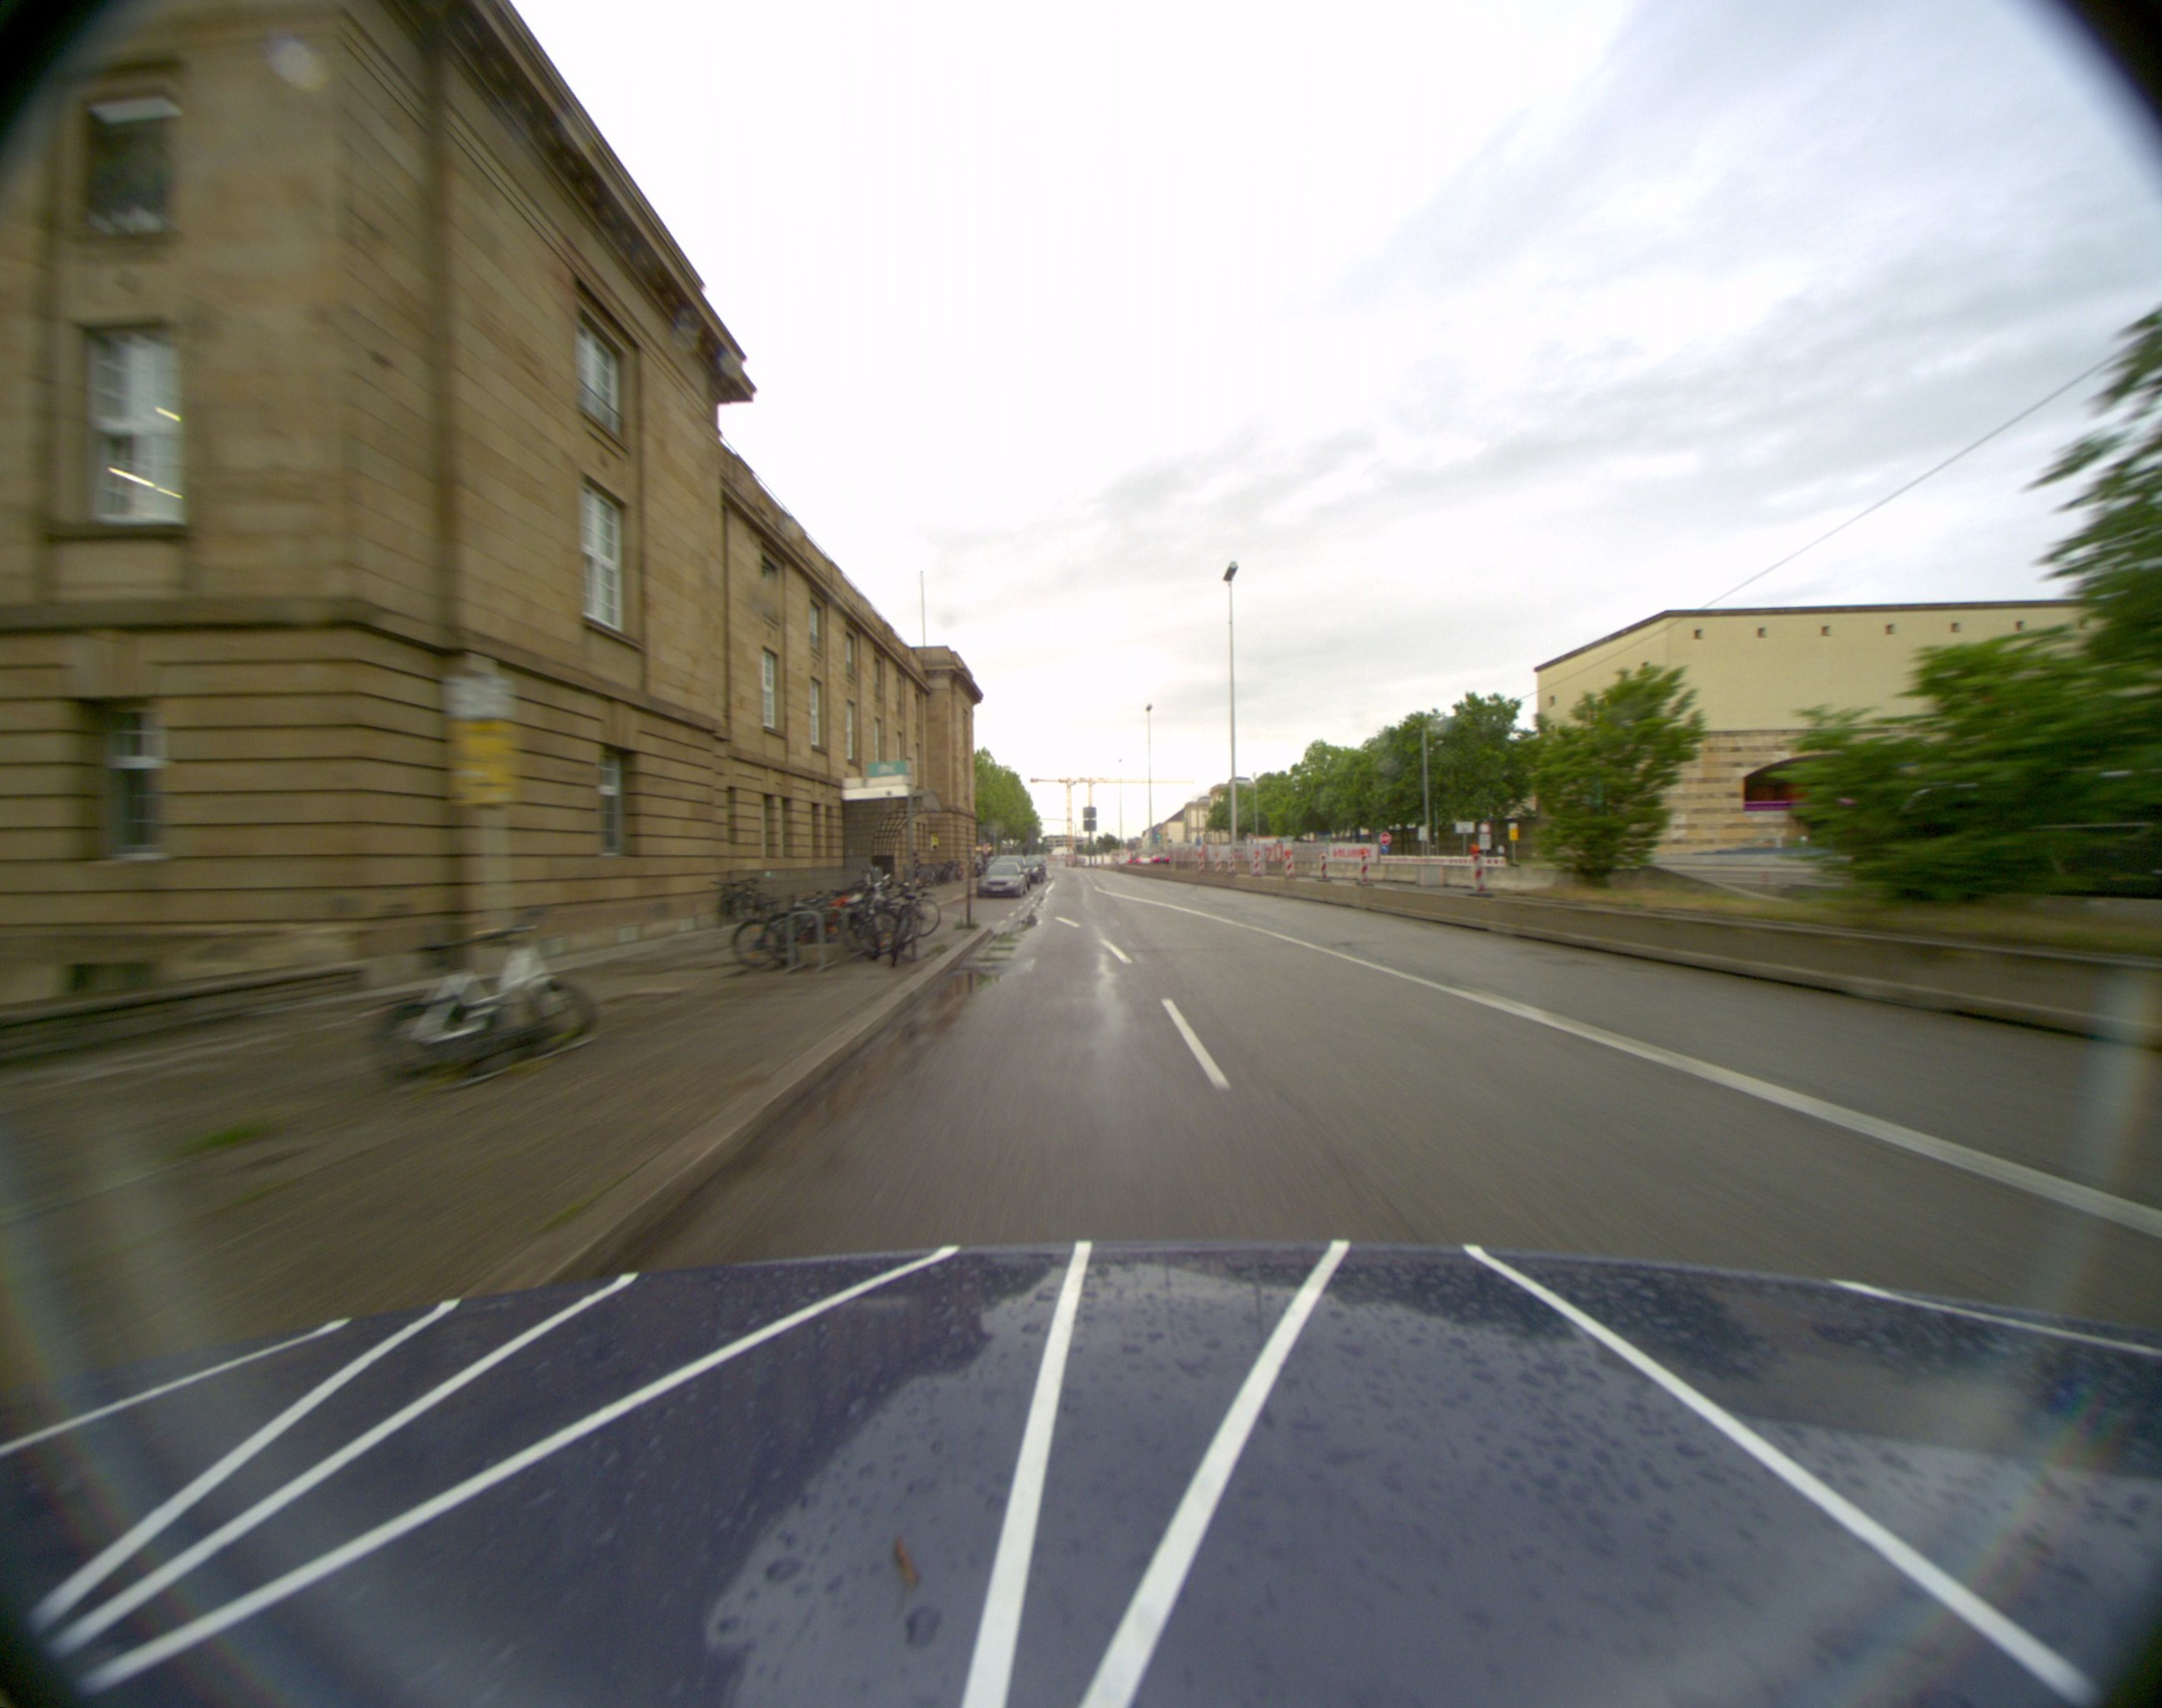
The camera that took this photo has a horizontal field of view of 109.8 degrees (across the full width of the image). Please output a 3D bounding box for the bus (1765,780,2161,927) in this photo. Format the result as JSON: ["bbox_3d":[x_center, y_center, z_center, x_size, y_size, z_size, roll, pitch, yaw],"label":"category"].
[{"bbox_3d":[29.543,-0.097,24.392,2.810,3.789,14.601,-3,0,4],"label":"bus"}]

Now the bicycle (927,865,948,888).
[{"bbox_3d":[-7.211,1.122,38.244,0.585,1.032,1.759,-2,1,4],"label":"bicycle"}]

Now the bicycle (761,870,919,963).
[{"bbox_3d":[-3.707,0.955,11.766,2.196,1.328,0.650,-2,1,2],"label":"bicycle"}]

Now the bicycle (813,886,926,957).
[{"bbox_3d":[-3.549,1.128,12.827,1.683,1.084,0.650,-2,1,2],"label":"bicycle"}]

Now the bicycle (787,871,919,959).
[{"bbox_3d":[-3.688,0.974,12.395,1.910,1.325,0.650,-2,1,2],"label":"bicycle"}]

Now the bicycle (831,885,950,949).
[{"bbox_3d":[-3.501,1.155,14.111,1.990,1.054,0.759,-2,1,-3],"label":"bicycle"}]

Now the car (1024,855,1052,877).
[{"bbox_3d":[-3.160,0.869,57.087,1.876,1.609,4.404,0,0,0],"label":"car"}]

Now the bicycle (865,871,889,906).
[{"bbox_3d":[-7.728,1.287,28.815,0.465,1.208,1.691,-2,1,-1],"label":"bicycle"}]

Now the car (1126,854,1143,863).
[{"bbox_3d":[8.936,0.761,127.623,1.926,1.521,4.757,-1,0,-7],"label":"car"}]

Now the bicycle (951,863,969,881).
[{"bbox_3d":[-7.583,1.111,47.720,0.419,1.043,1.773,-1,1,13],"label":"bicycle"}]

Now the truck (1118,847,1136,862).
[{"bbox_3d":[8.830,0.091,146.475,2.405,2.703,7.351,-1,0,-5],"label":"truck"}]

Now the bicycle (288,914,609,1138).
[{"bbox_3d":[-4.508,1.137,5.647,0.606,1.190,1.905,0,1,8],"label":"bicycle"}]

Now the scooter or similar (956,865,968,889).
[{"bbox_3d":[-7.365,1.414,47.077,0.414,1.409,1.268,3,1,4],"label":"scooter or similar"}]

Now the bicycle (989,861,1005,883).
[{"bbox_3d":[-4.890,1.041,44.163,0.778,1.211,1.963,0,0,-11],"label":"bicycle"}]

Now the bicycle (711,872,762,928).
[{"bbox_3d":[-8.256,1.079,18.266,0.454,1.243,1.599,-3,0,-1],"label":"bicycle"}]

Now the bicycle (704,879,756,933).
[{"bbox_3d":[-8.000,1.161,17.386,0.353,1.074,1.789,0,1,0],"label":"bicycle"}]

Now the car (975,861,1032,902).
[{"bbox_3d":[-3.157,1.113,31.678,1.936,1.469,3.702,-2,1,1],"label":"car"}]

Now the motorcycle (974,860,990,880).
[{"bbox_3d":[-6.793,1.098,52.252,0.668,1.318,2.135,-2,1,4],"label":"motorcycle"}]

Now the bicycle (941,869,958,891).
[{"bbox_3d":[-7.092,1.397,41.170,0.714,1.045,1.739,-2,1,-5],"label":"bicycle"}]

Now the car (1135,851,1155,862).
[{"bbox_3d":[9.185,0.385,109.037,2.000,1.521,3.997,-1,0,-7],"label":"car"}]

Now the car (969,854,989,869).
[{"bbox_3d":[-10.907,0.804,81.349,1.585,1.528,3.021,0,1,2],"label":"car"}]

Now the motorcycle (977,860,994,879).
[{"bbox_3d":[-6.807,1.083,54.415,0.808,1.291,1.799,-2,1,4],"label":"motorcycle"}]

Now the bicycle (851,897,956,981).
[{"bbox_3d":[-2.399,1.130,10.485,0.670,0.962,1.639,-2,1,16],"label":"bicycle"}]

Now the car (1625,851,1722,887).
[{"bbox_3d":[25.360,0.608,32.646,1.596,1.492,3.213,0,0,-2],"label":"car"}]

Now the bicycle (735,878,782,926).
[{"bbox_3d":[-8.037,1.176,19.004,0.353,1.074,1.789,-2,1,0],"label":"bicycle"}]

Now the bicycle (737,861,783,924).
[{"bbox_3d":[-8.175,0.941,19.403,0.454,1.507,1.599,-3,0,-1],"label":"bicycle"}]

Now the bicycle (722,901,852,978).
[{"bbox_3d":[-4.135,1.196,10.735,1.593,0.988,0.525,-2,1,2],"label":"bicycle"}]

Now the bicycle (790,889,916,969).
[{"bbox_3d":[-3.423,1.117,11.463,1.683,1.116,0.601,-2,0,2],"label":"bicycle"}]

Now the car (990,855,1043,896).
[{"bbox_3d":[-3.044,0.998,36.782,1.998,1.771,4.188,-2,1,2],"label":"car"}]

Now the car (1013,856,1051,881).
[{"bbox_3d":[-2.911,0.838,45.747,1.762,1.406,3.153,1,1,6],"label":"car"}]

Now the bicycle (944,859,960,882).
[{"bbox_3d":[-7.305,0.922,43.053,0.732,1.261,1.758,-1,1,-5],"label":"bicycle"}]

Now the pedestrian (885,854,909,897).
[{"bbox_3d":[-7.670,0.899,31.709,0.797,1.767,0.642,1,1,0],"label":"pedestrian"}]
